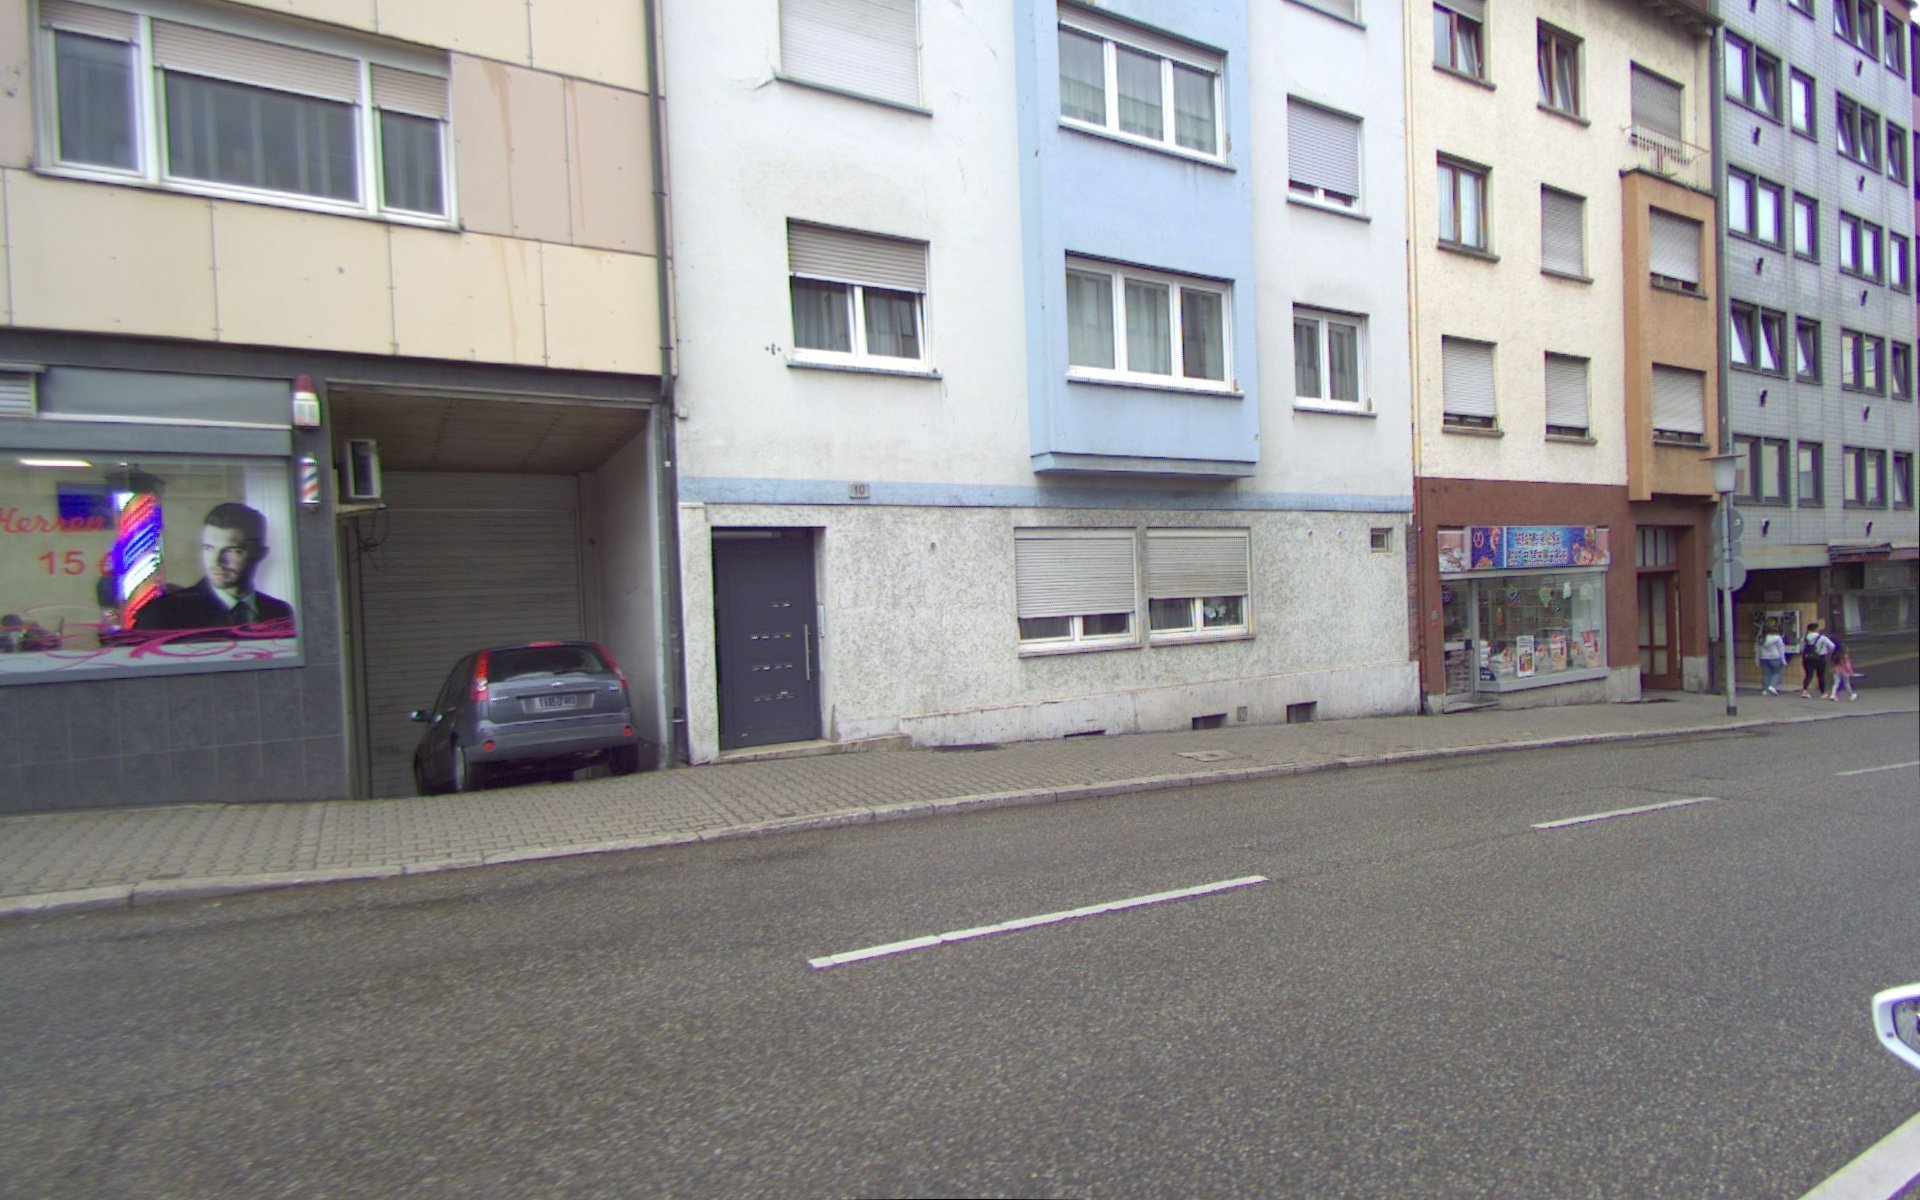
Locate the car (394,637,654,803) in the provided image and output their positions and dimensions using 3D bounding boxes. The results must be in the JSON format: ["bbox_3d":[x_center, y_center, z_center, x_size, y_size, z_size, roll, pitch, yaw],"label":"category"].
[{"bbox_3d":[-4.837,1.312,10.811,1.663,1.367,3.962,-1,-6,-37],"label":"car"}]

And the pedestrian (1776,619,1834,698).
[{"bbox_3d":[19.137,1.298,22.751,0.717,1.712,0.820,1,1,-39],"label":"pedestrian"}]

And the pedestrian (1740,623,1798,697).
[{"bbox_3d":[18.124,1.334,22.507,0.717,1.581,0.820,1,1,-39],"label":"pedestrian"}]

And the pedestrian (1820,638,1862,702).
[{"bbox_3d":[19.284,1.514,21.983,0.717,1.341,0.529,1,1,-39],"label":"pedestrian"}]
